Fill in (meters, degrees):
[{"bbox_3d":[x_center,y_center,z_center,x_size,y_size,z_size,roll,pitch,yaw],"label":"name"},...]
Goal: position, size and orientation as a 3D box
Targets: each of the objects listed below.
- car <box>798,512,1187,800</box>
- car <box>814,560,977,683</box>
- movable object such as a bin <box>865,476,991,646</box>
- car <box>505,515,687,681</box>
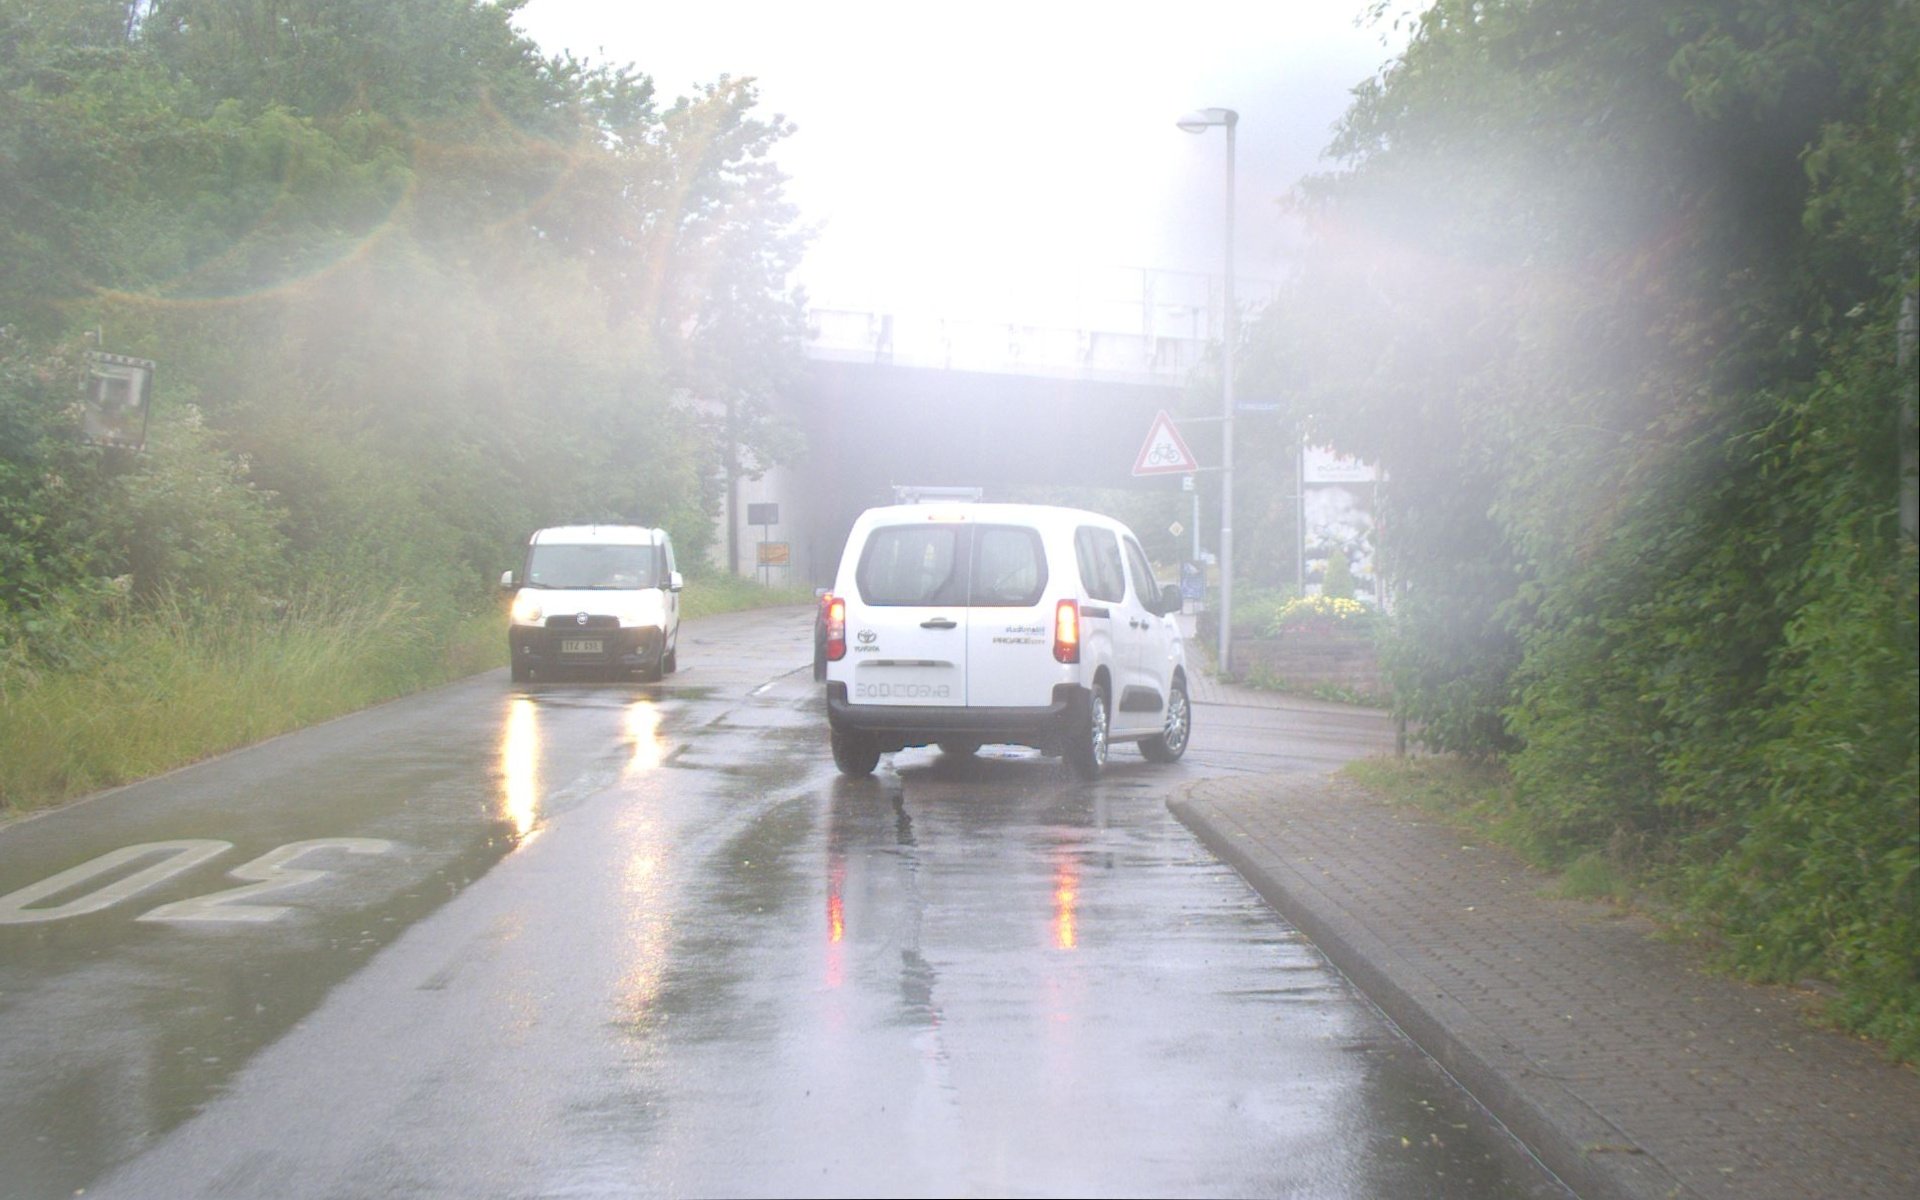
[{"bbox_3d":[0.328,0.311,23.821,1.898,1.800,3.998,-1,2,12],"label":"car"},{"bbox_3d":[-0.723,0.219,41.055,1.708,1.373,4.000,1,1,2],"label":"car"},{"bbox_3d":[-0.467,-0.615,53.858,1.761,2.539,4.239,1,1,2],"label":"movable object such as a bin"},{"bbox_3d":[-4.220,-0.051,40.421,1.823,1.825,4.308,1,1,-2],"label":"car"}]
